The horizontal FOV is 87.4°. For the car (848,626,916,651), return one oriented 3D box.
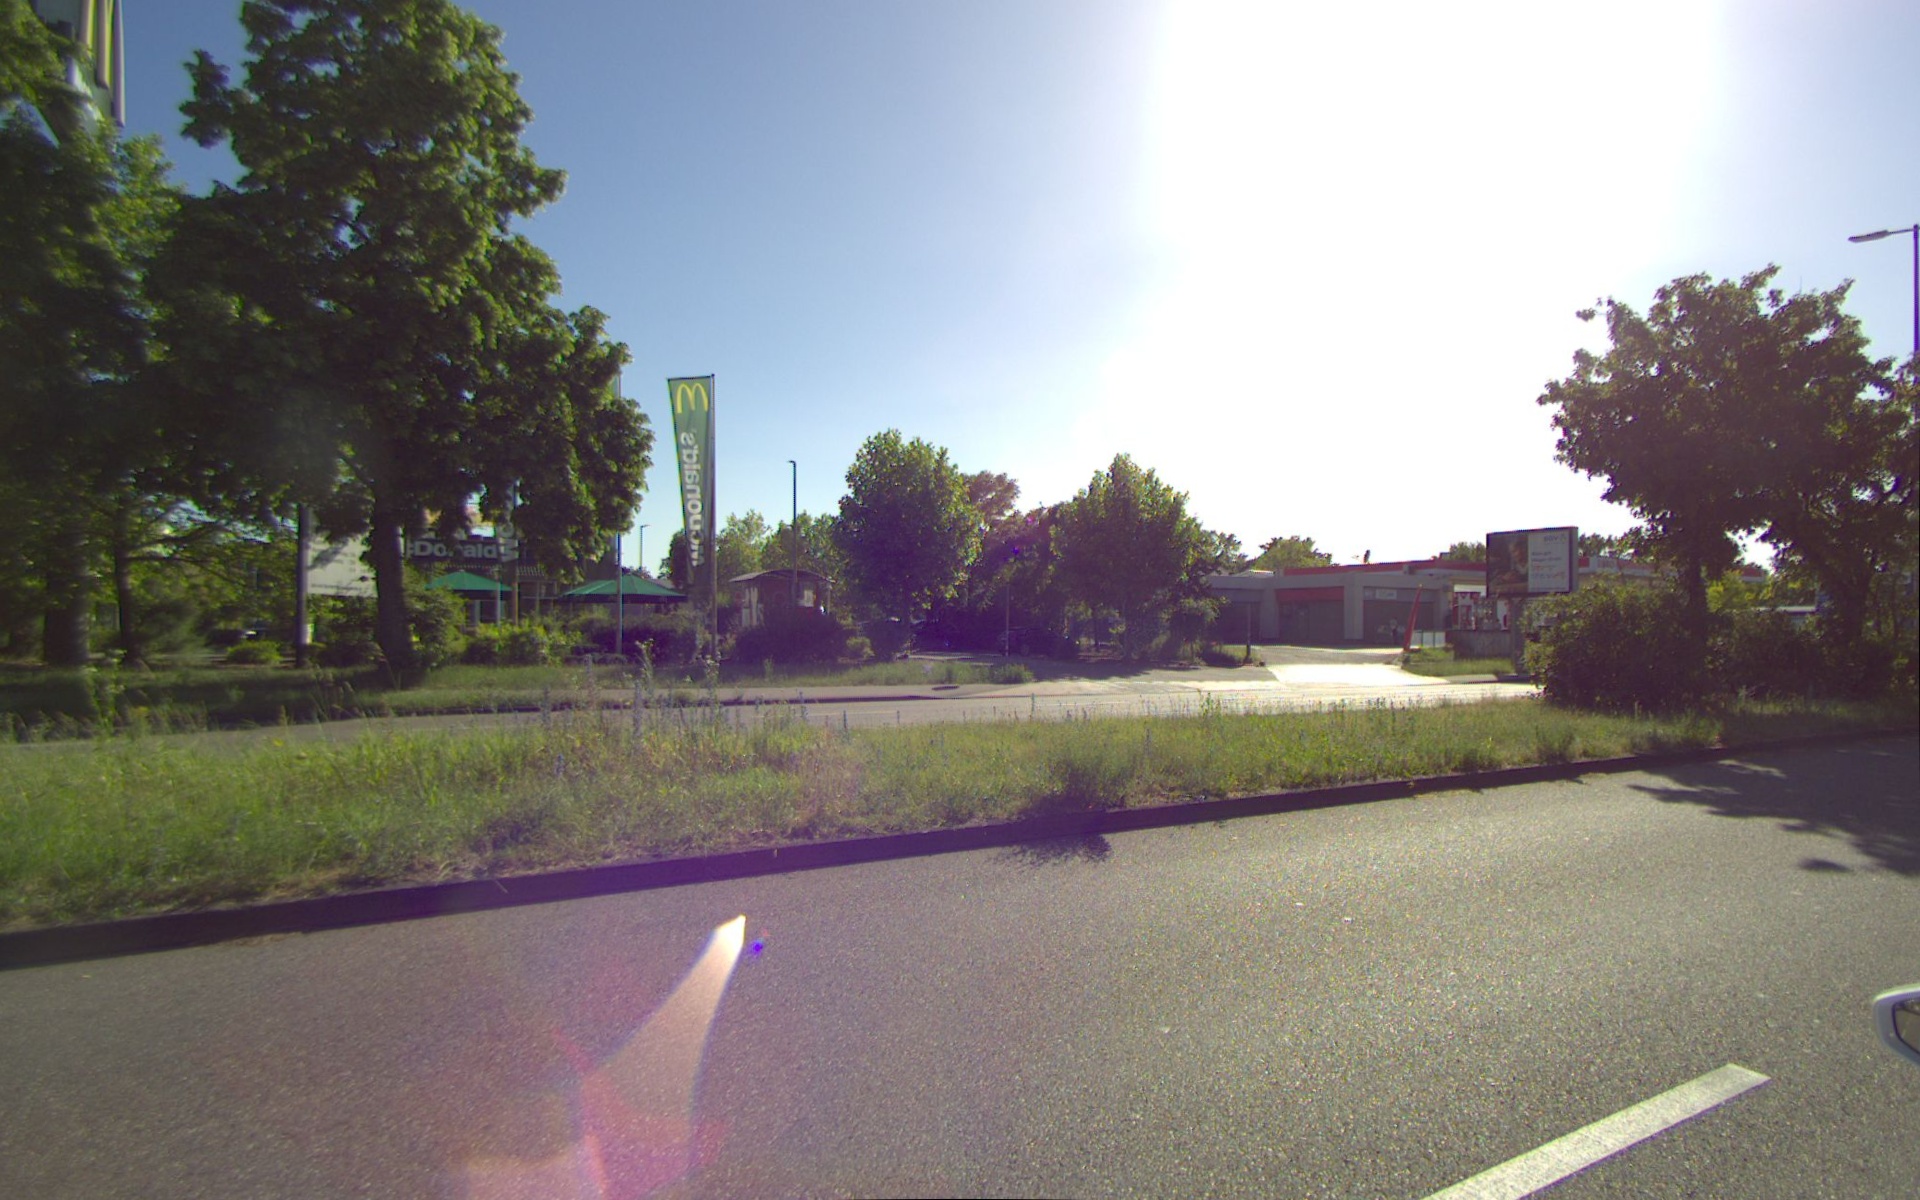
[{"bbox_3d":[-4.856,2.383,62.688,3.885,1.549,1.779,1,-2,-31],"label":"car"}]

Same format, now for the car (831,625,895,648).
[{"bbox_3d":[-6.389,2.430,66.303,3.885,1.472,1.779,1,-2,-31],"label":"car"}]

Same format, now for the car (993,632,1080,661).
[{"bbox_3d":[3.671,2.204,48.278,3.885,1.327,1.779,1,-2,-31],"label":"car"}]
